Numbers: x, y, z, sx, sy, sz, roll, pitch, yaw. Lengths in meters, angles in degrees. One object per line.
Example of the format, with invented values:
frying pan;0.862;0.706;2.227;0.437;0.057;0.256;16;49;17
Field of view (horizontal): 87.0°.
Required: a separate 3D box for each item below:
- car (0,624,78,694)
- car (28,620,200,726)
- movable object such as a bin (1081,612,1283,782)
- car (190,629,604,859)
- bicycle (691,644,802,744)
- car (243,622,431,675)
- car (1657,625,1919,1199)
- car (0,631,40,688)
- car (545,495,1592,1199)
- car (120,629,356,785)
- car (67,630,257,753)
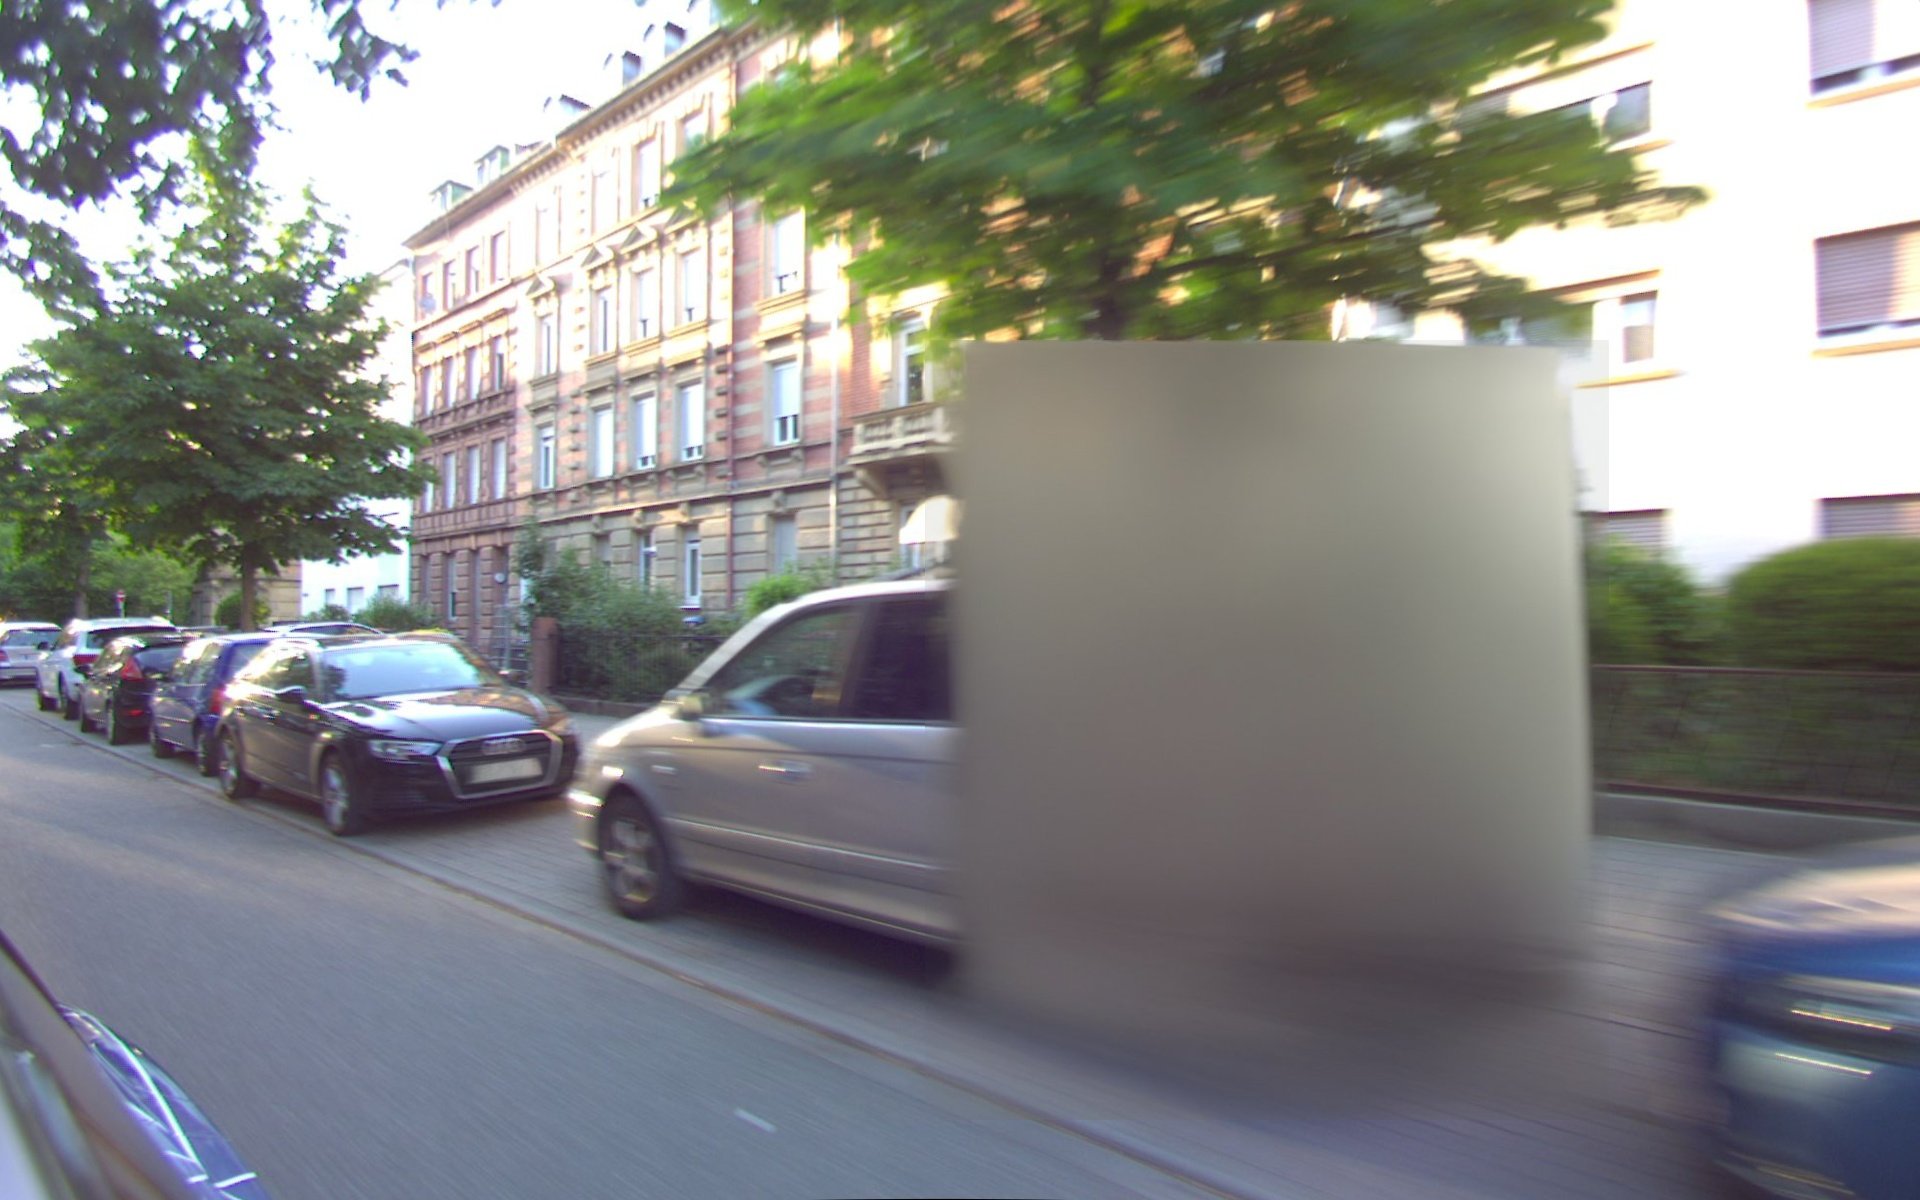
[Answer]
car;-24.000;1.456;25.767;3.936;1.649;1.657;-1;-1;39
car;-15.299;1.212;18.234;4.020;1.675;1.842;-1;-1;42
movable object such as a bin;2.026;0.828;9.284;1.549;1.398;0.937;-1;0;38
car;-4.864;0.989;8.516;4.020;1.452;1.711;-1;-1;40
bicycle;-2.654;1.125;12.485;1.633;1.118;0.451;-1;0;42
car;-17.850;1.348;29.180;1.625;1.351;4.355;-1;-1;42
car;3.852;0.761;1.409;4.587;1.423;1.842;-1;-1;40
car;-27.332;1.645;28.566;3.984;1.504;1.486;-1;-1;40
car;0.089;0.676;4.714;4.620;1.792;1.842;-1;-1;40
car;-8.374;1.109;11.661;3.295;1.505;1.423;-1;-1;40
car;-11.645;1.218;14.691;3.625;1.510;1.659;-1;-1;43
